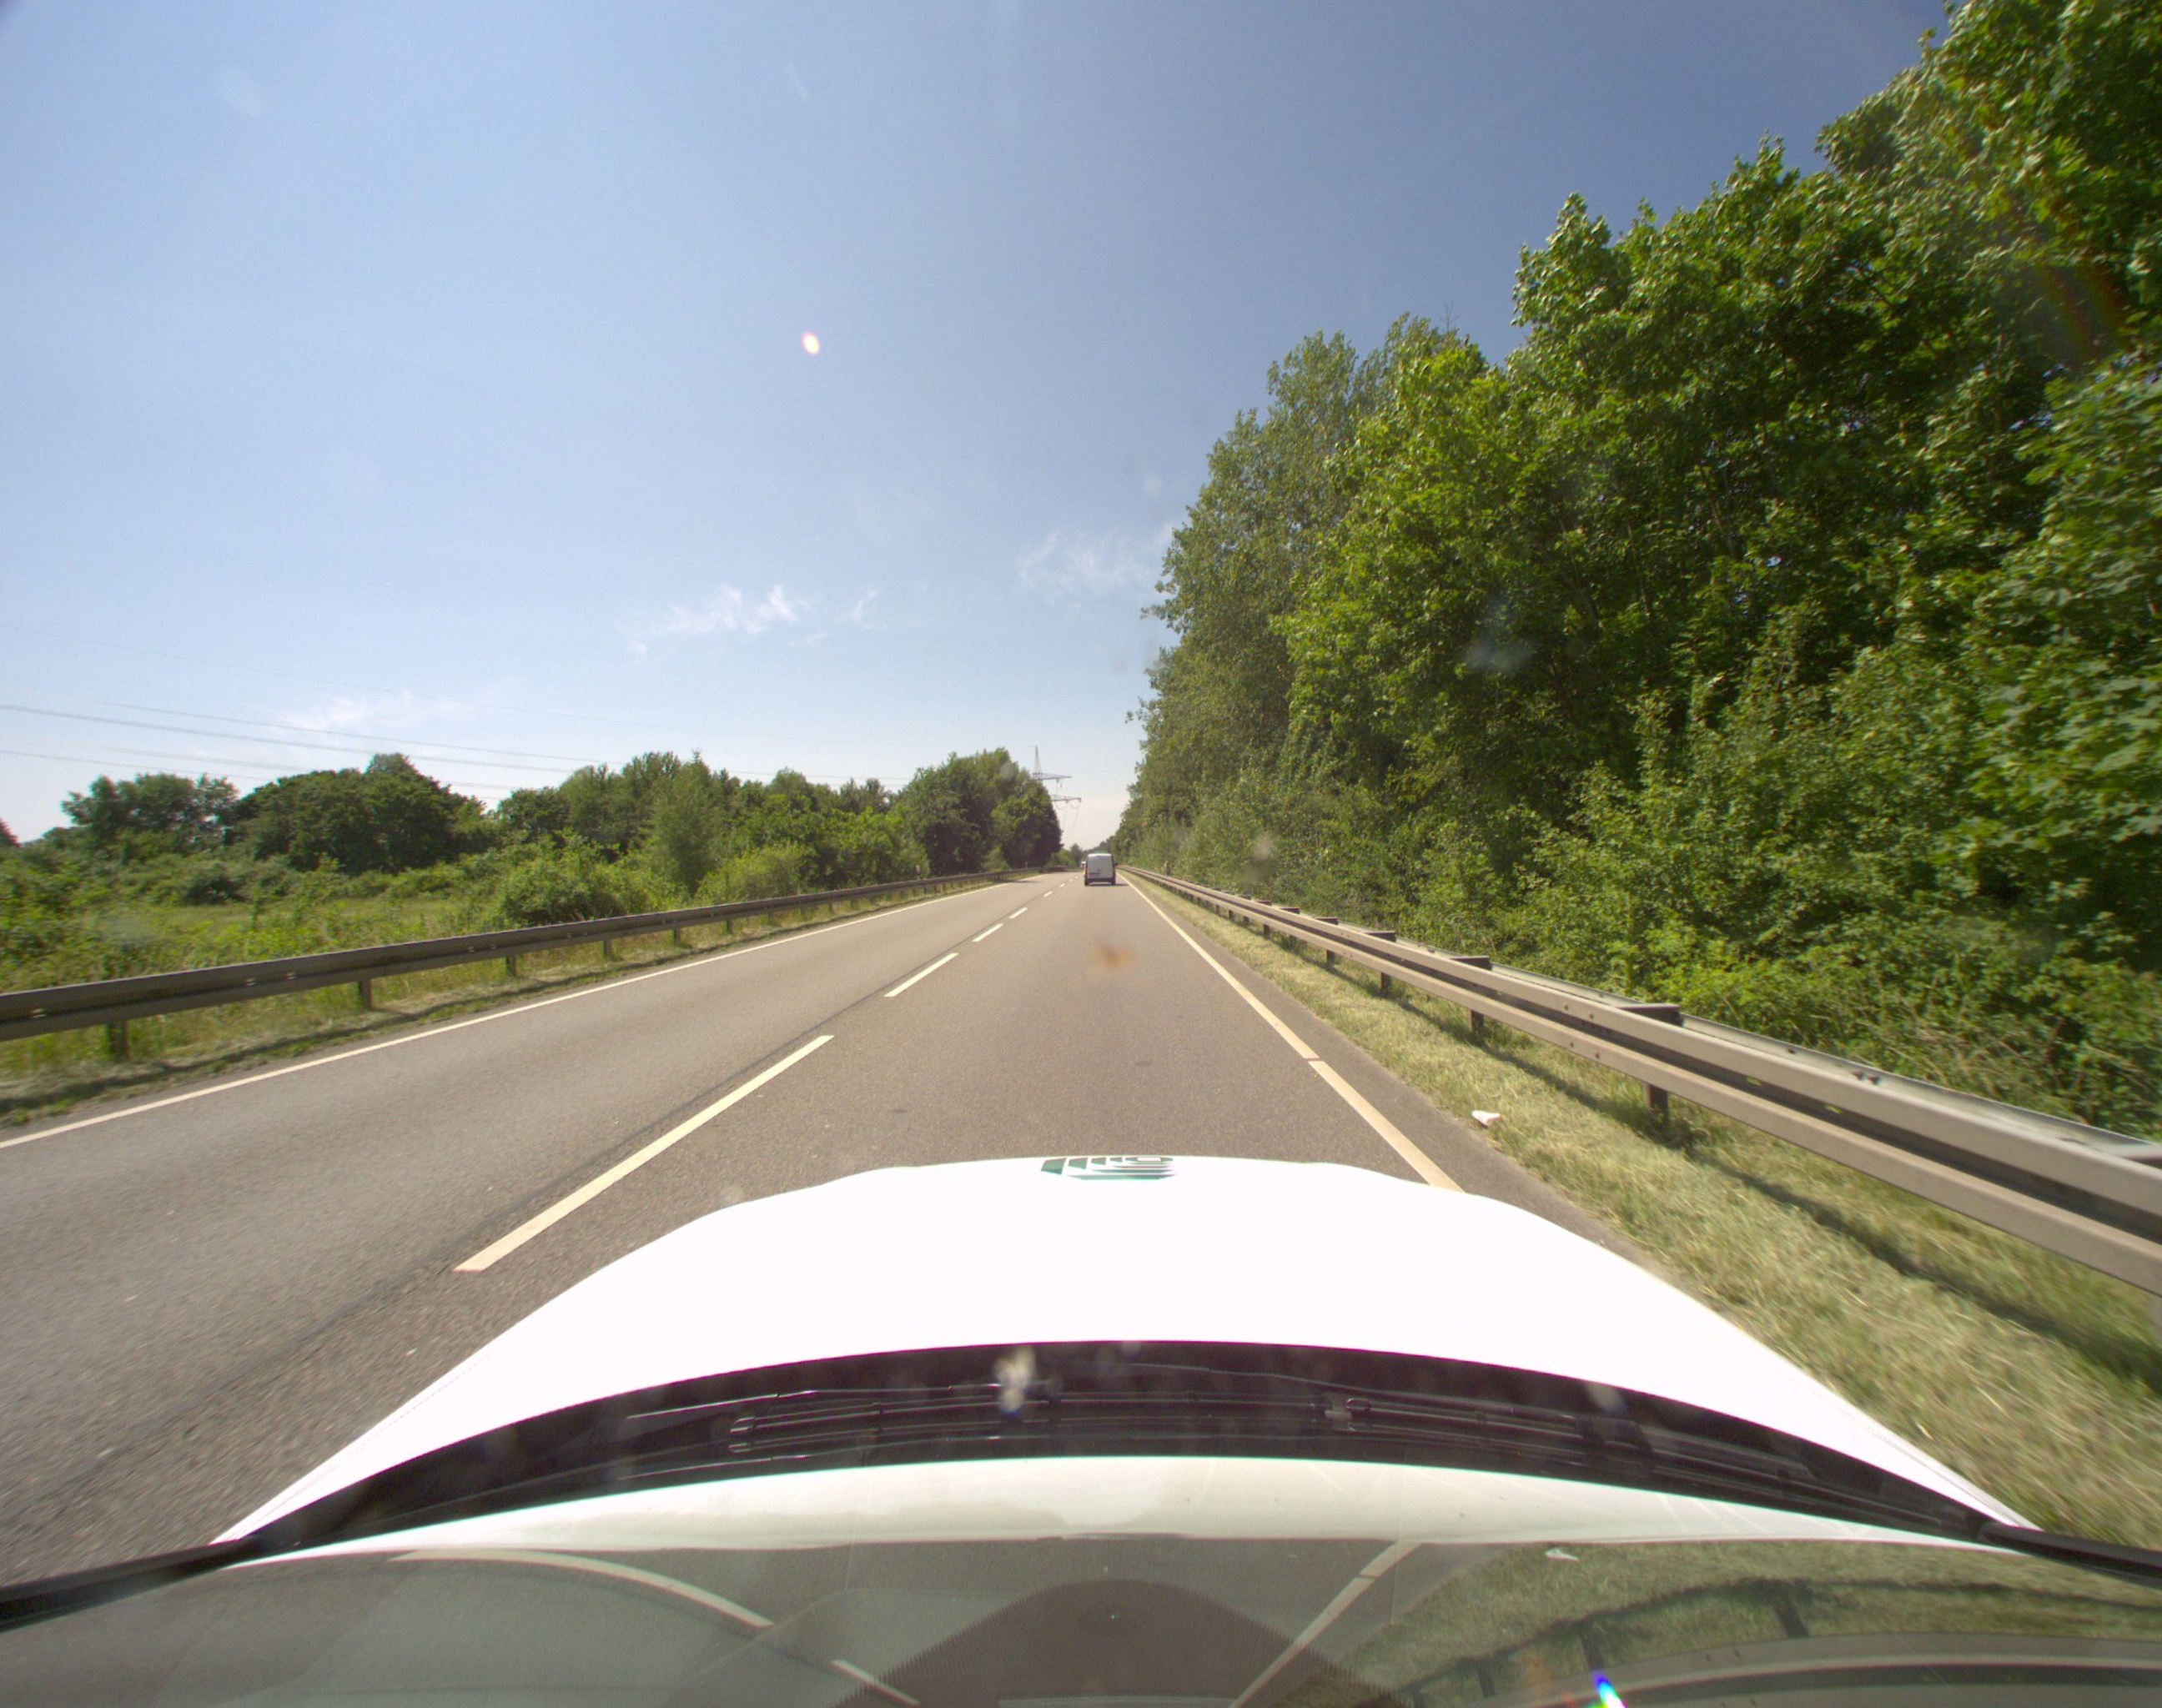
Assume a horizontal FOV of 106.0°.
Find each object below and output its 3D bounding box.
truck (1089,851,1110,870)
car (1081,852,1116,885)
[{"bbox_3d":[3.404,1.099,145.245,3.283,3.172,14.416,0,0,3],"label":"truck"},{"bbox_3d":[0.992,0.791,46.254,1.868,1.741,4.001,0,0,1],"label":"car"}]
